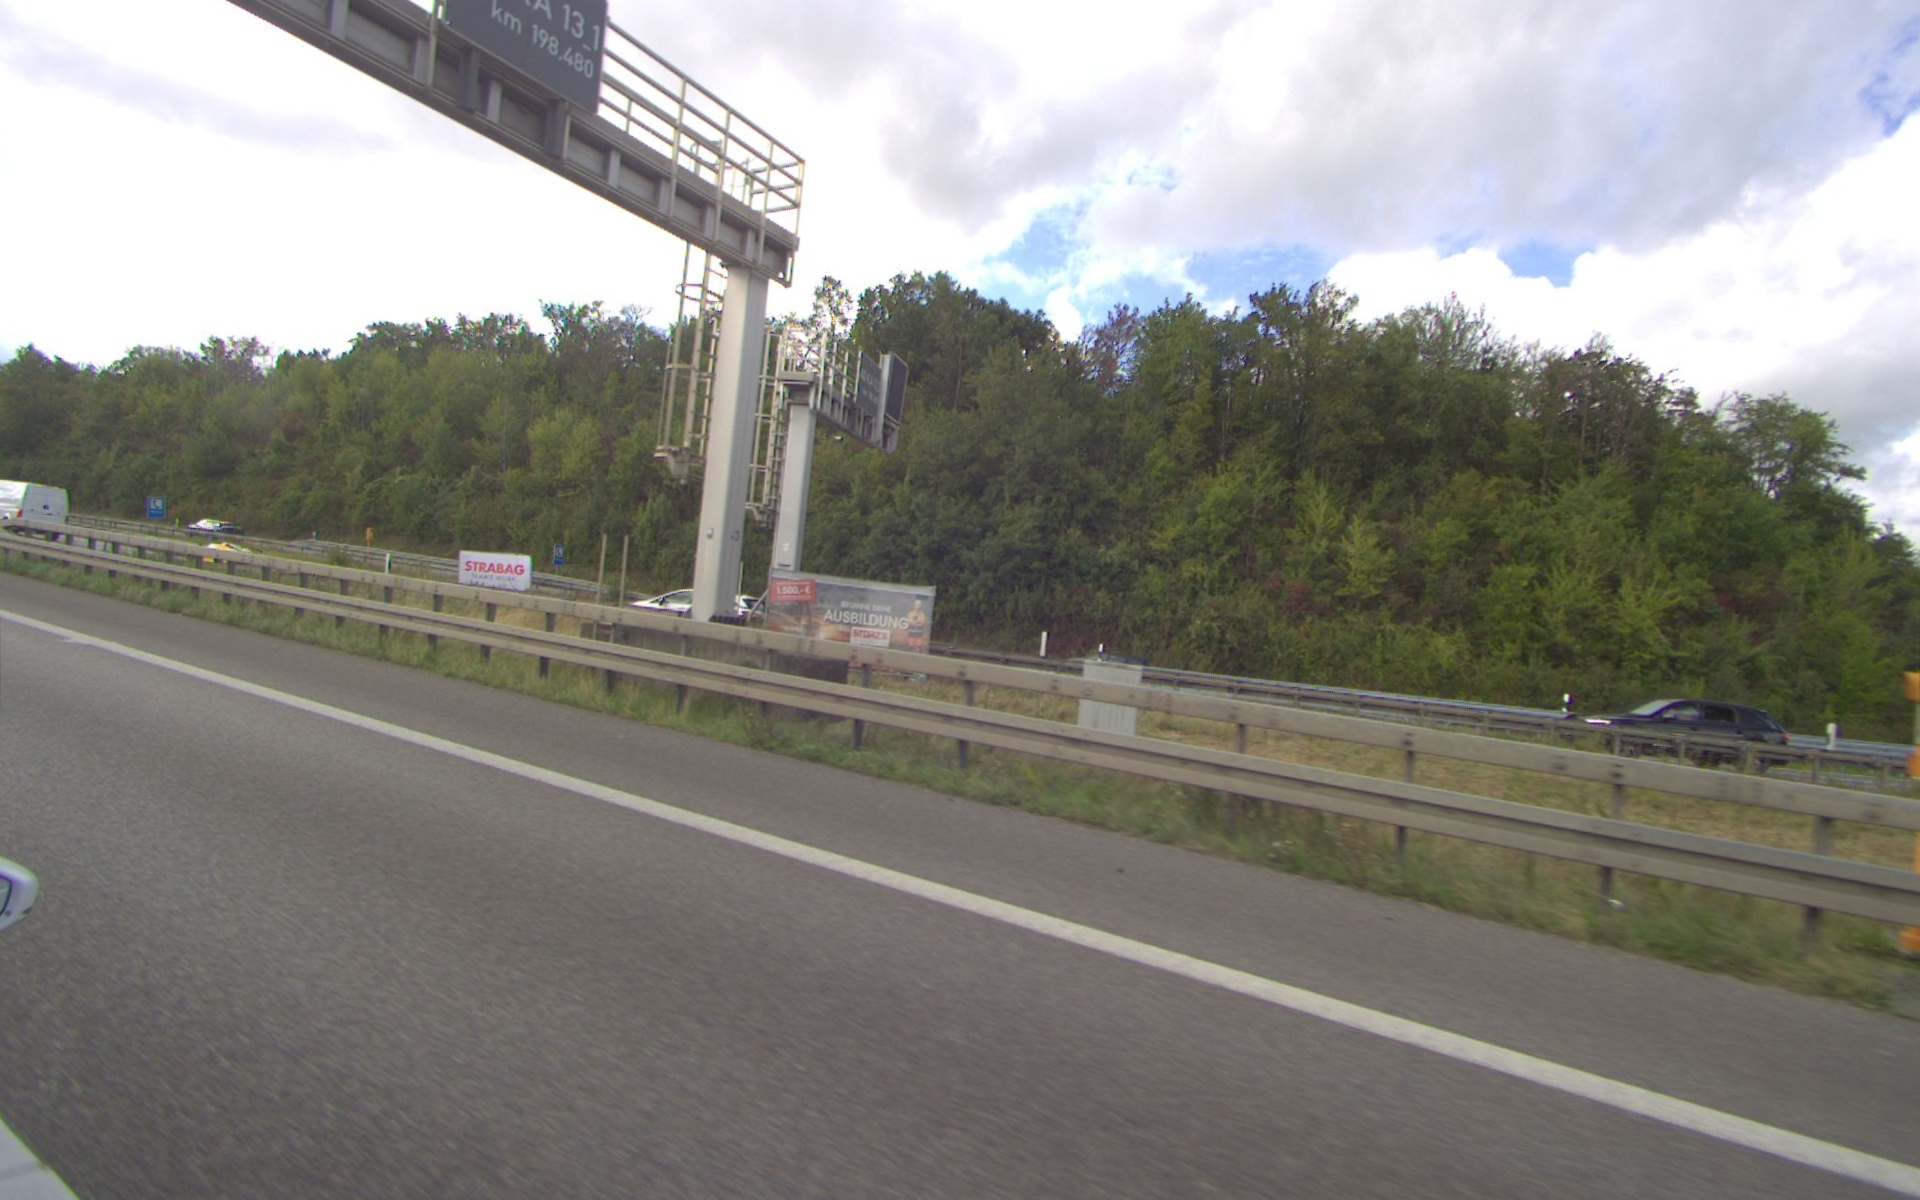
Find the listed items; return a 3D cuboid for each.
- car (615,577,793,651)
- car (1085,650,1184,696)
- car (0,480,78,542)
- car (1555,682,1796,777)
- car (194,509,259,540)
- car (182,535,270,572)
[{"bbox_3d":[-7.246,0.412,28.577,4.528,1.503,1.690,7,-1,15],"label":"car"},{"bbox_3d":[7.679,3.176,44.212,4.089,1.433,1.718,7,0,13],"label":"car"},{"bbox_3d":[-46.535,-4.494,49.660,6.625,2.586,2.074,7,0,27],"label":"car"},{"bbox_3d":[18.194,3.270,25.705,4.771,1.655,1.877,7,-1,-3],"label":"car"},{"bbox_3d":[-50.654,-5.221,69.413,4.684,1.623,1.845,6,1,30],"label":"car"},{"bbox_3d":[-33.520,-2.120,45.929,4.099,1.195,1.715,7,-1,31],"label":"car"}]
